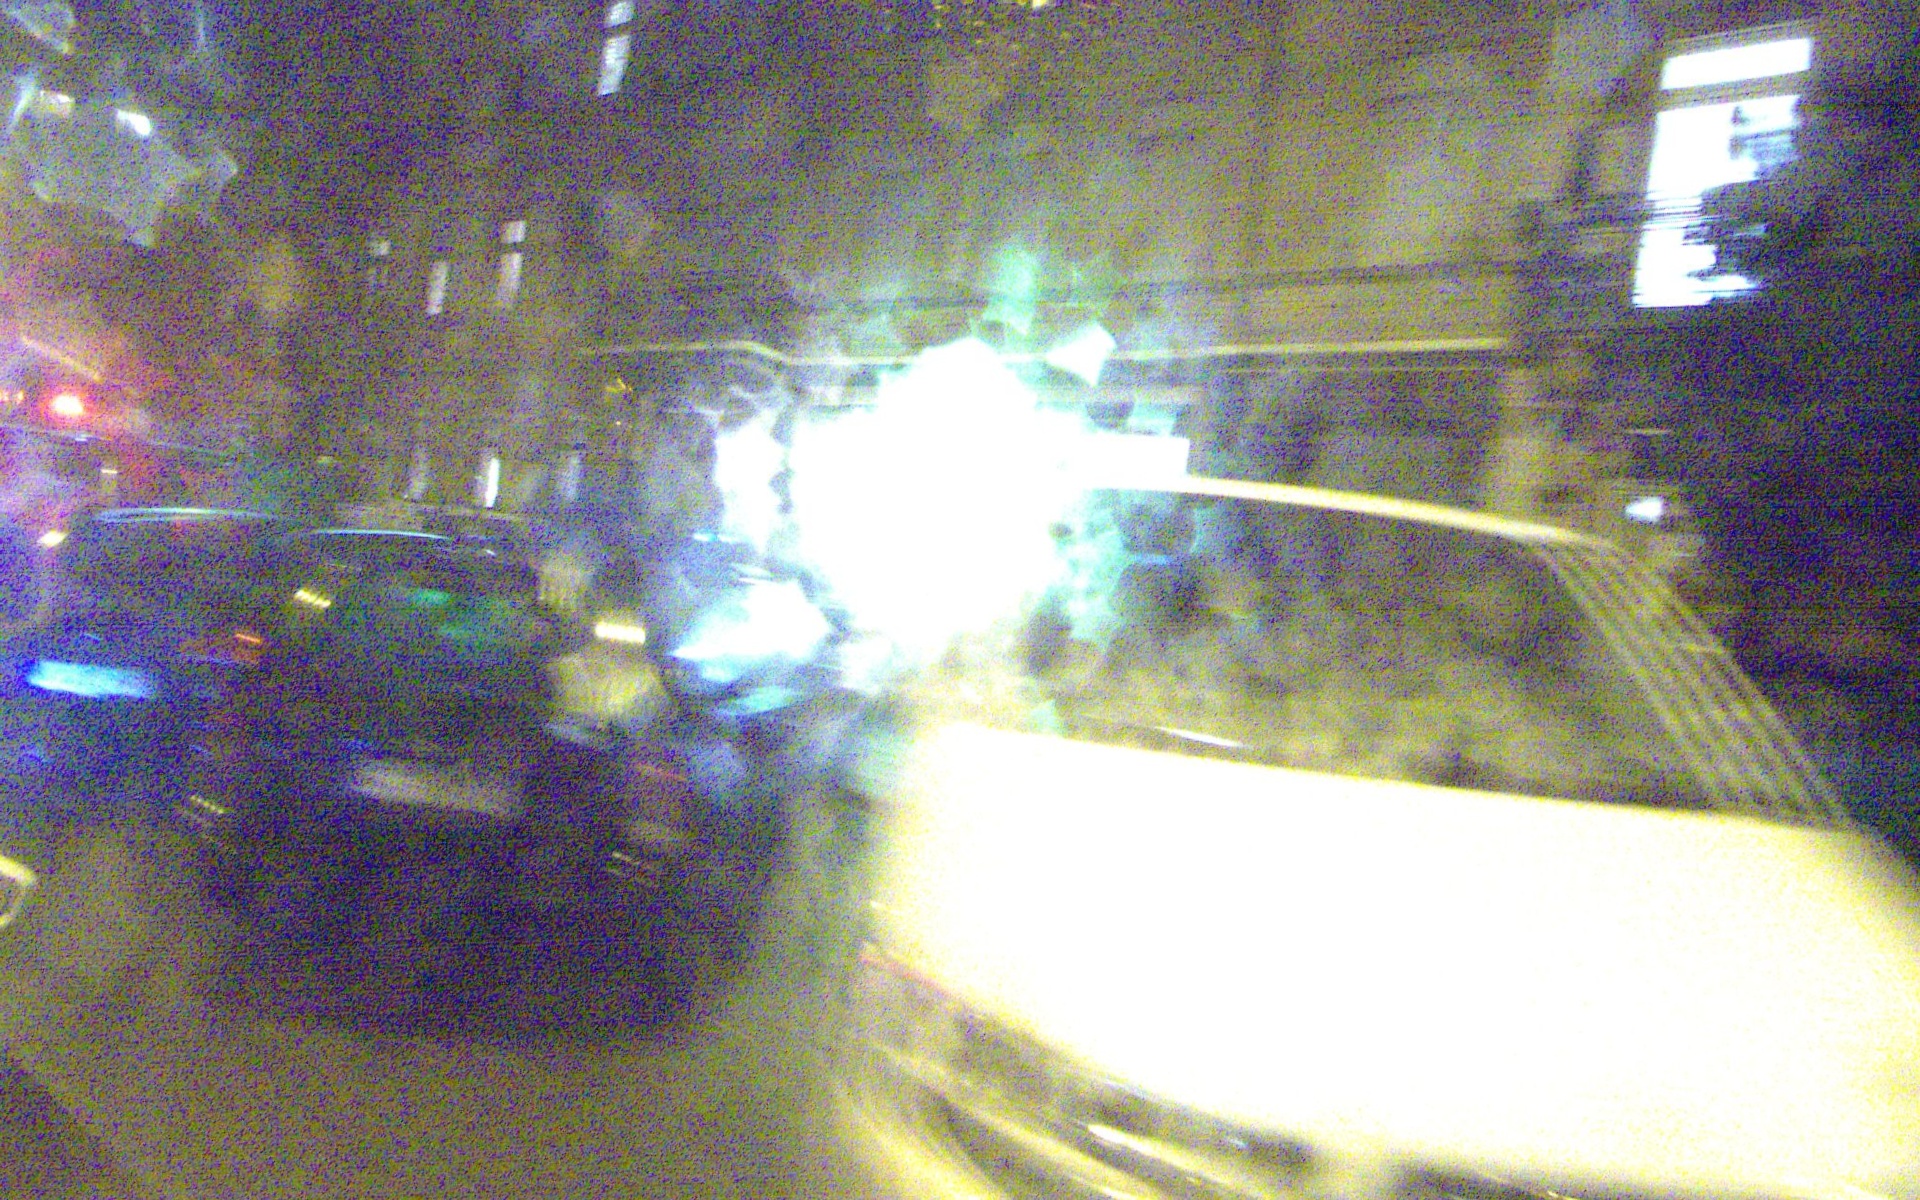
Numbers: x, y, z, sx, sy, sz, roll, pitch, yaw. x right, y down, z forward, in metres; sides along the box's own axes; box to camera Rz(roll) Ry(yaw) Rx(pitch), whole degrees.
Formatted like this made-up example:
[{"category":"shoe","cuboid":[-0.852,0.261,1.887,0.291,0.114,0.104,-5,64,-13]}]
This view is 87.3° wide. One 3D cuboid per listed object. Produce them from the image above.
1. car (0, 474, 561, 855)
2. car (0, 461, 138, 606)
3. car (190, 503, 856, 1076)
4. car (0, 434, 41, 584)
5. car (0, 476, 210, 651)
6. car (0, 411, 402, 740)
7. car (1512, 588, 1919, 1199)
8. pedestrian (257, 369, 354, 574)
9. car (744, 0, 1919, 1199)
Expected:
[{"category":"car","cuboid":[-3.901,0.205,5.997,1.695,1.504,3.561,6,1,-4]},{"category":"car","cuboid":[-11.621,-0.834,11.134,1.847,1.609,3.993,6,2,-4]},{"category":"car","cuboid":[-1.450,0.520,4.651,1.423,1.514,3.512,6,1,0]},{"category":"car","cuboid":[-13.580,-1.267,12.246,1.577,2.017,3.560,6,2,-5]},{"category":"car","cuboid":[-8.913,-0.404,9.091,1.642,1.472,3.561,6,1,-3]},{"category":"car","cuboid":[-6.089,-0.250,7.659,1.695,1.864,3.744,6,1,-5]},{"category":"car","cuboid":[3.001,0.932,2.154,1.615,1.734,3.563,6,1,3]},{"category":"pedestrian","cuboid":[-11.996,-2.338,18.457,0.778,3.570,0.893,7,0,31]},{"category":"car","cuboid":[0.860,0.558,3.397,2.028,2.074,4.800,8,0,1]}]
